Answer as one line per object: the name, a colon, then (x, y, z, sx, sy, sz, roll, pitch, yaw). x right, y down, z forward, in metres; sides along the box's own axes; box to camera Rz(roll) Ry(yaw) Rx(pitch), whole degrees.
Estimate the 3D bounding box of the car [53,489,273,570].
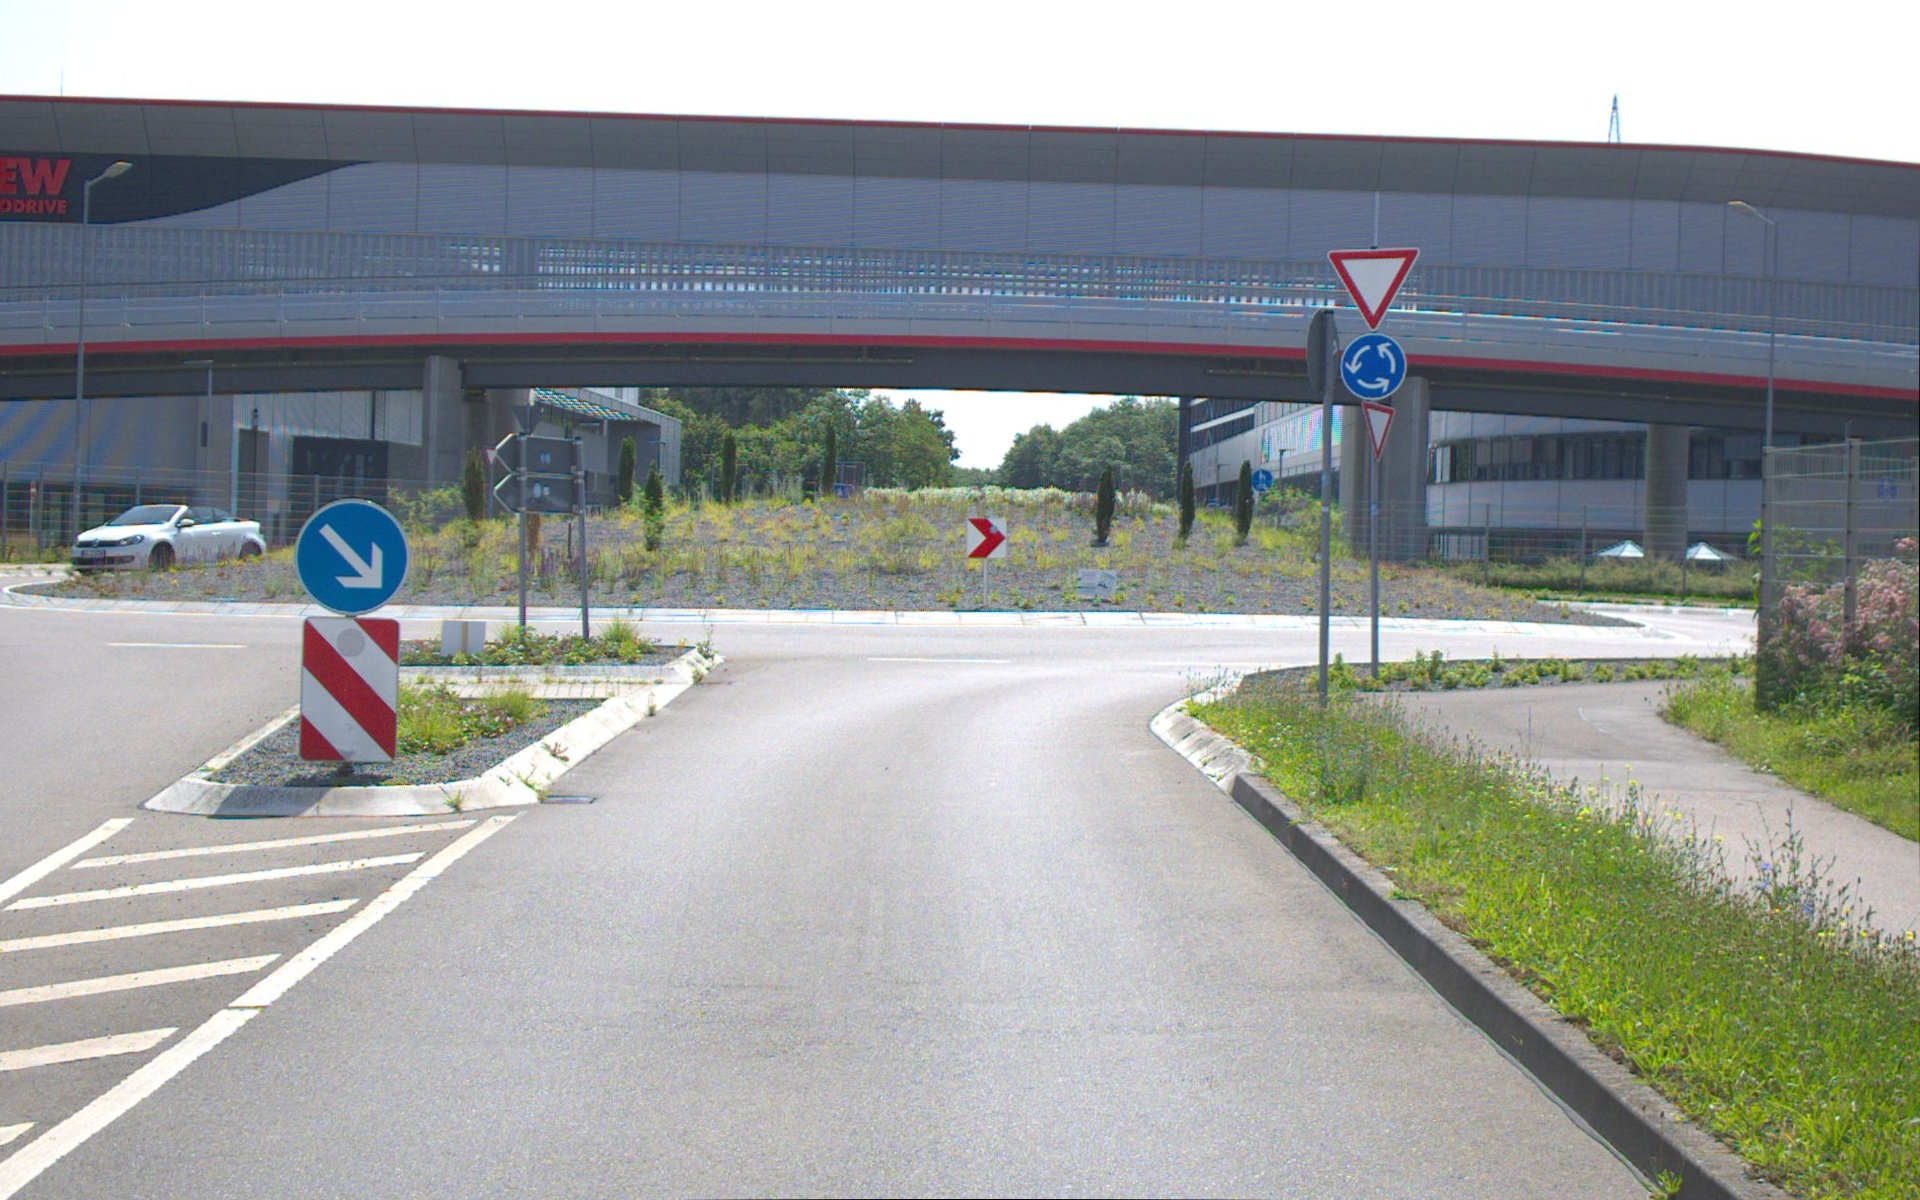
car: (-14.633, -1.278, 63.302, 1.772, 1.423, 4.046, 1, 1, 26)
